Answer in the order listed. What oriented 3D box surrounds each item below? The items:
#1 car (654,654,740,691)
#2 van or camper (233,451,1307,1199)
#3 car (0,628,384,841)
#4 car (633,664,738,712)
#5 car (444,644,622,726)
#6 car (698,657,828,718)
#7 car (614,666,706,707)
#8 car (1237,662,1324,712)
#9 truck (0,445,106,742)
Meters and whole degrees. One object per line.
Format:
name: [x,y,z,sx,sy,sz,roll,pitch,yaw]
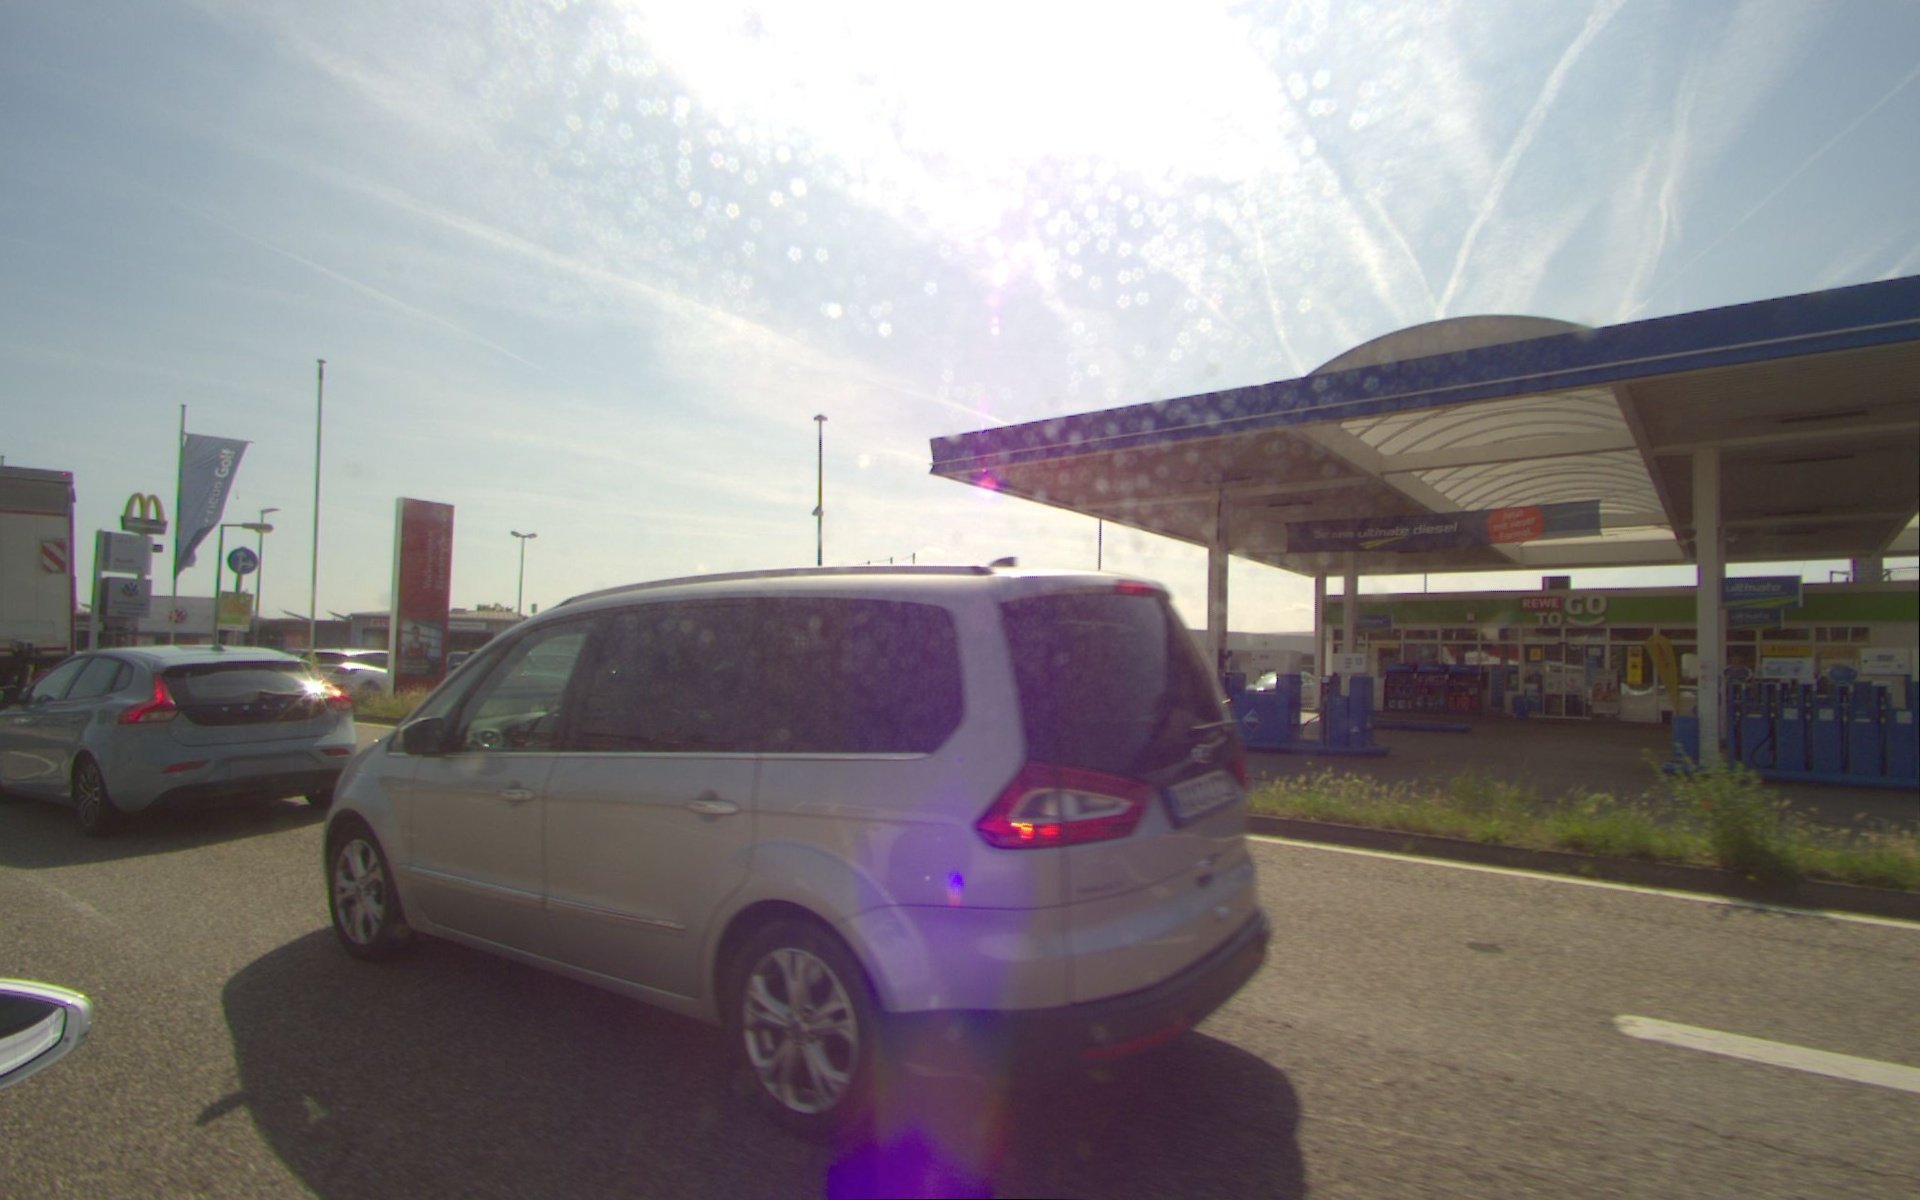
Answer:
car: [-11.126,3.038,42.301,3.638,1.427,1.555,-1,-2,34]
van or camper: [-1.257,0.649,4.520,5.066,1.809,1.743,-1,-4,36]
car: [-6.985,1.004,8.763,4.168,1.446,1.732,-1,-4,35]
car: [-9.404,2.969,34.224,3.547,1.445,1.554,-1,-2,35]
car: [-8.344,1.606,19.924,1.533,1.427,3.595,0,-2,10]
car: [-5.919,2.551,29.907,3.808,1.615,1.610,-1,-2,34]
car: [-11.868,3.380,39.550,3.545,1.427,1.555,-1,-2,33]
car: [11.524,3.093,35.900,1.732,1.657,3.975,-1,-4,37]
truck: [-17.250,-0.045,15.825,10.990,3.858,2.873,-1,-3,35]
